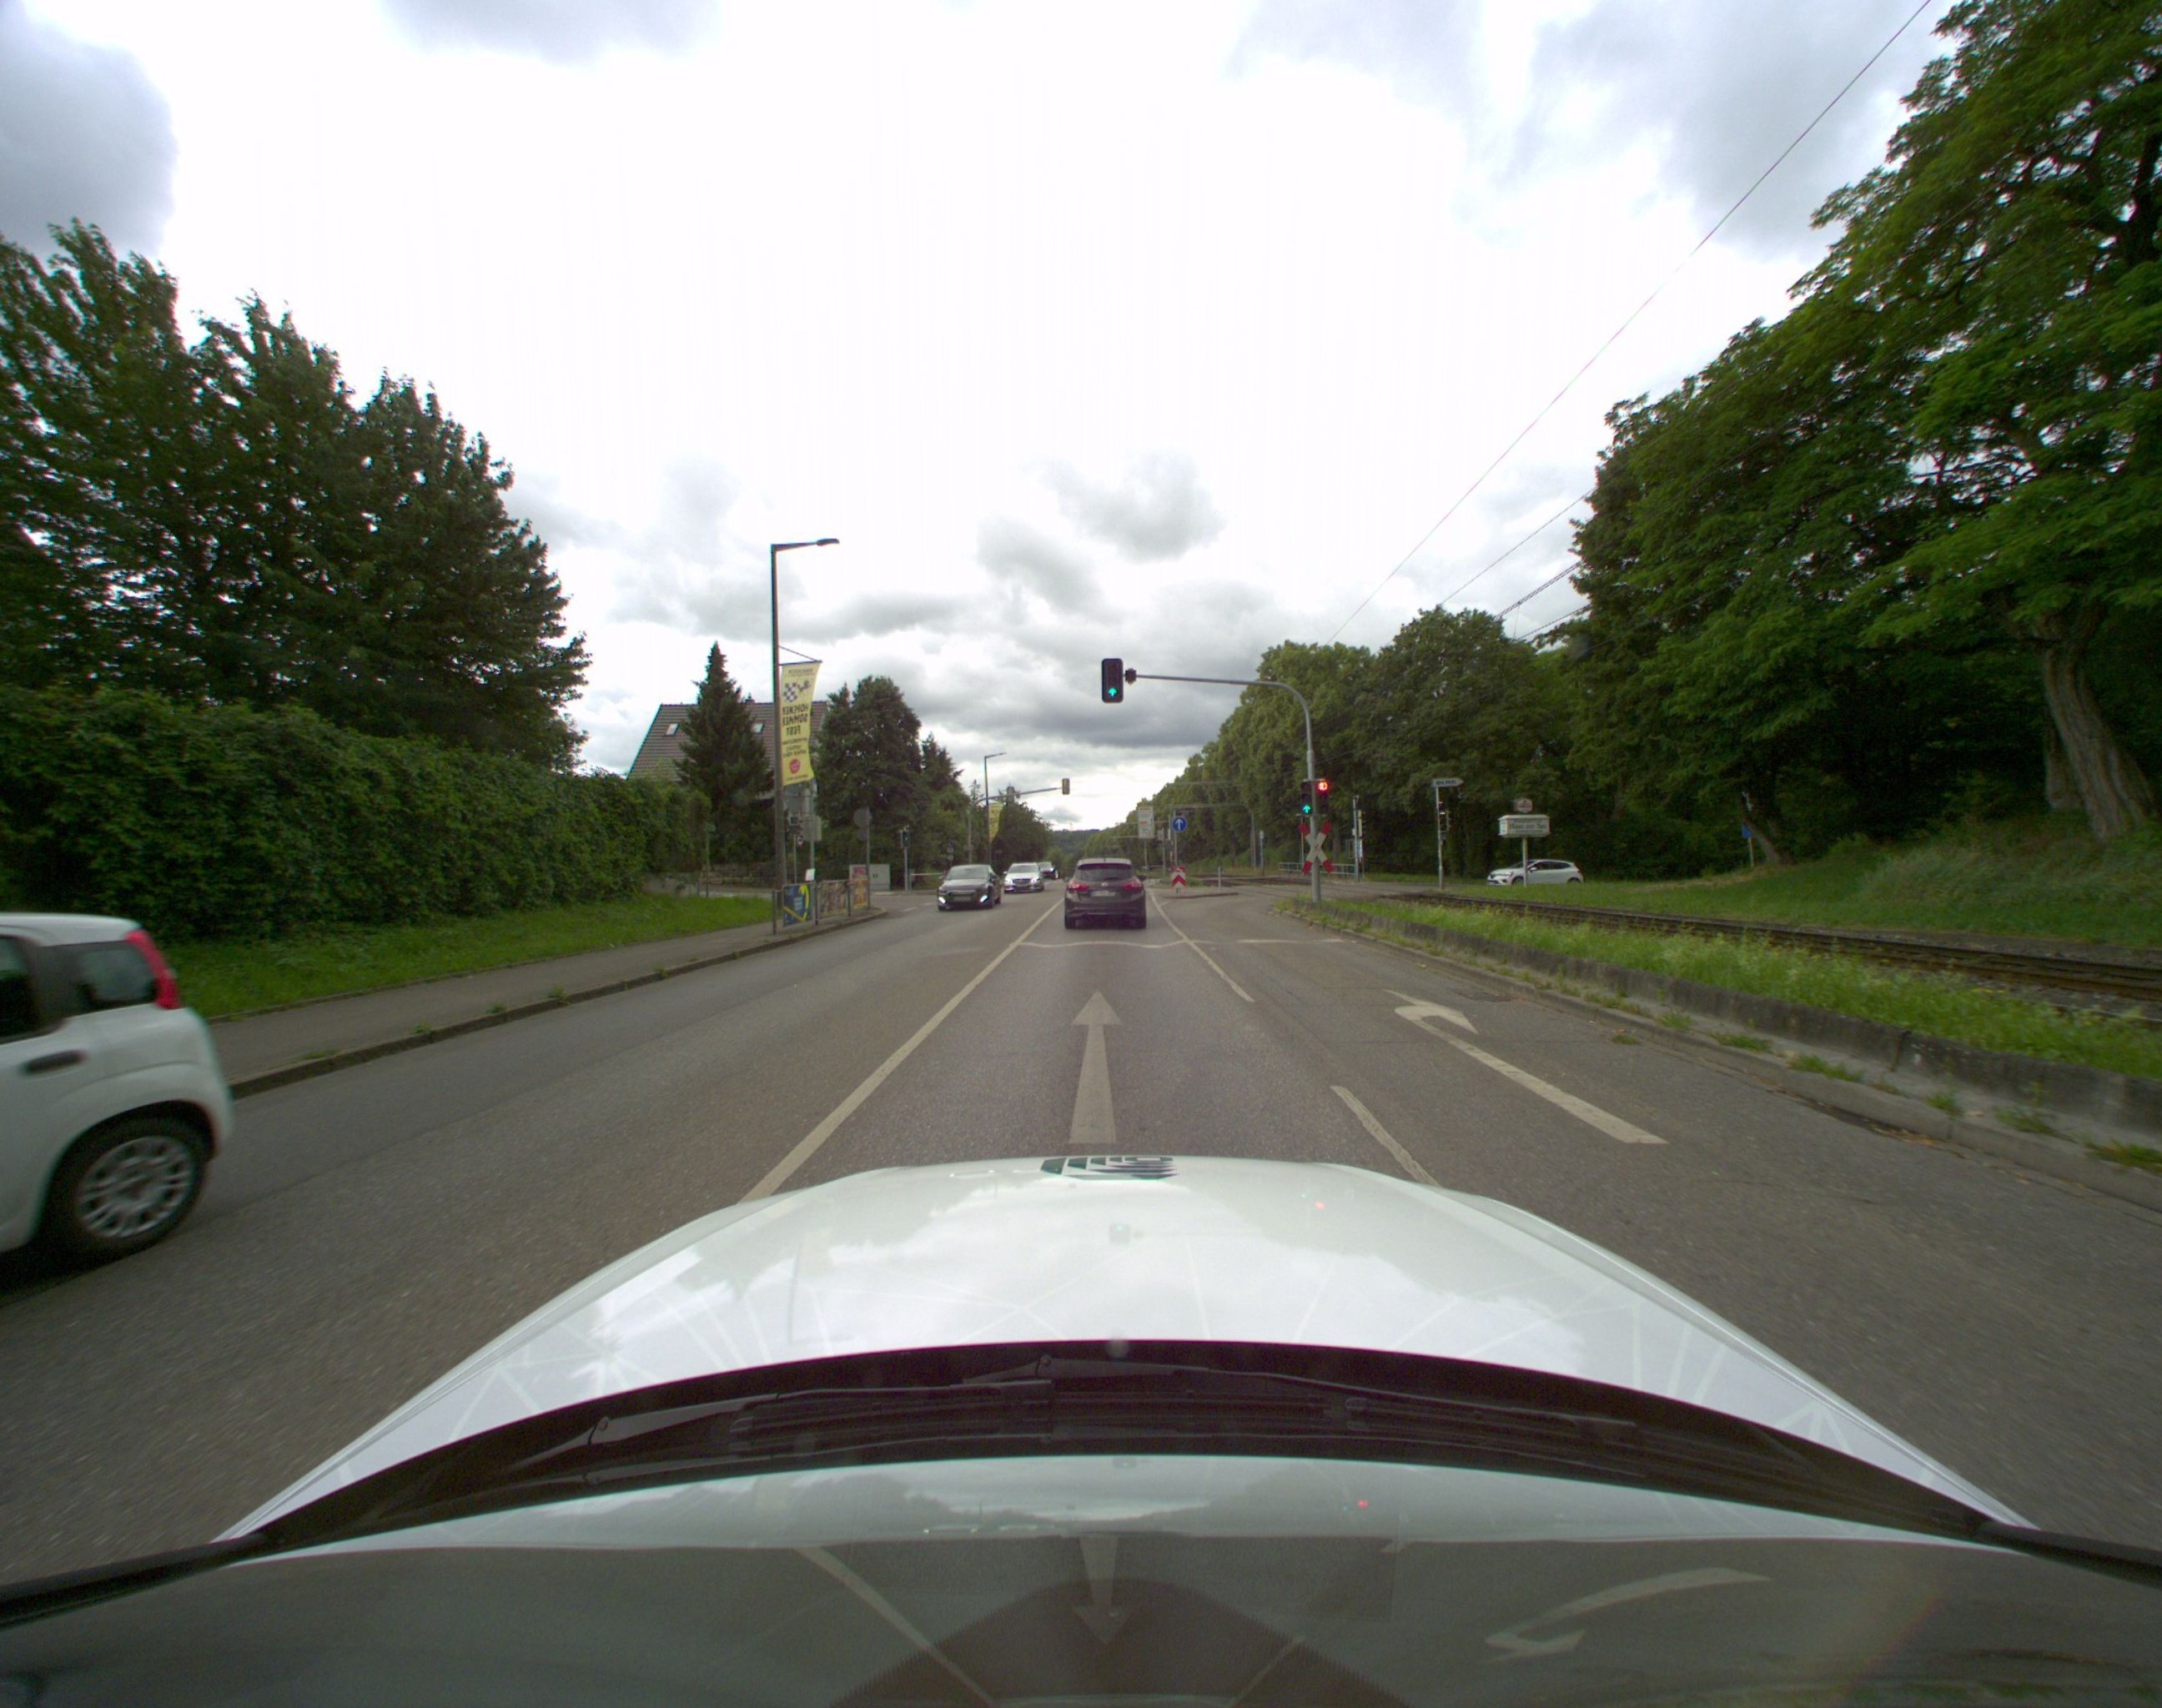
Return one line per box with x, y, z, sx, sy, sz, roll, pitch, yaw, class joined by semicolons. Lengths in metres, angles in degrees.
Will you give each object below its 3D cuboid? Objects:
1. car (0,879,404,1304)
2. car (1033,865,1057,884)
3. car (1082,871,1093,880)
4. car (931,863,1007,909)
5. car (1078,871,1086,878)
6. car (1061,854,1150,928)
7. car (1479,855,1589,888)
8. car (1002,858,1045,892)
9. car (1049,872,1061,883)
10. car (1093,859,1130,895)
-4.929;0.952;2.432;1.807;1.524;4.699;-4;0;0;car
-3.098;1.791;70.141;1.895;1.574;4.481;0;-2;0;car
1.084;3.573;135.182;1.736;1.310;3.999;0;0;0;car
-3.715;1.028;27.676;1.805;1.373;4.162;-1;0;2;car
0.235;4.314;171.801;1.736;1.310;3.999;0;0;0;car
0.588;0.774;19.132;1.828;1.519;4.485;0;0;2;car
20.840;0.809;37.567;3.979;1.354;1.997;2;-1;-4;car
-2.839;1.023;41.521;1.813;1.567;5.204;-1;0;0;car
-4.352;3.933;137.732;1.779;1.696;3.999;-2;-1;0;car
1.383;0.991;36.995;1.533;1.478;3.766;-3;0;2;car
